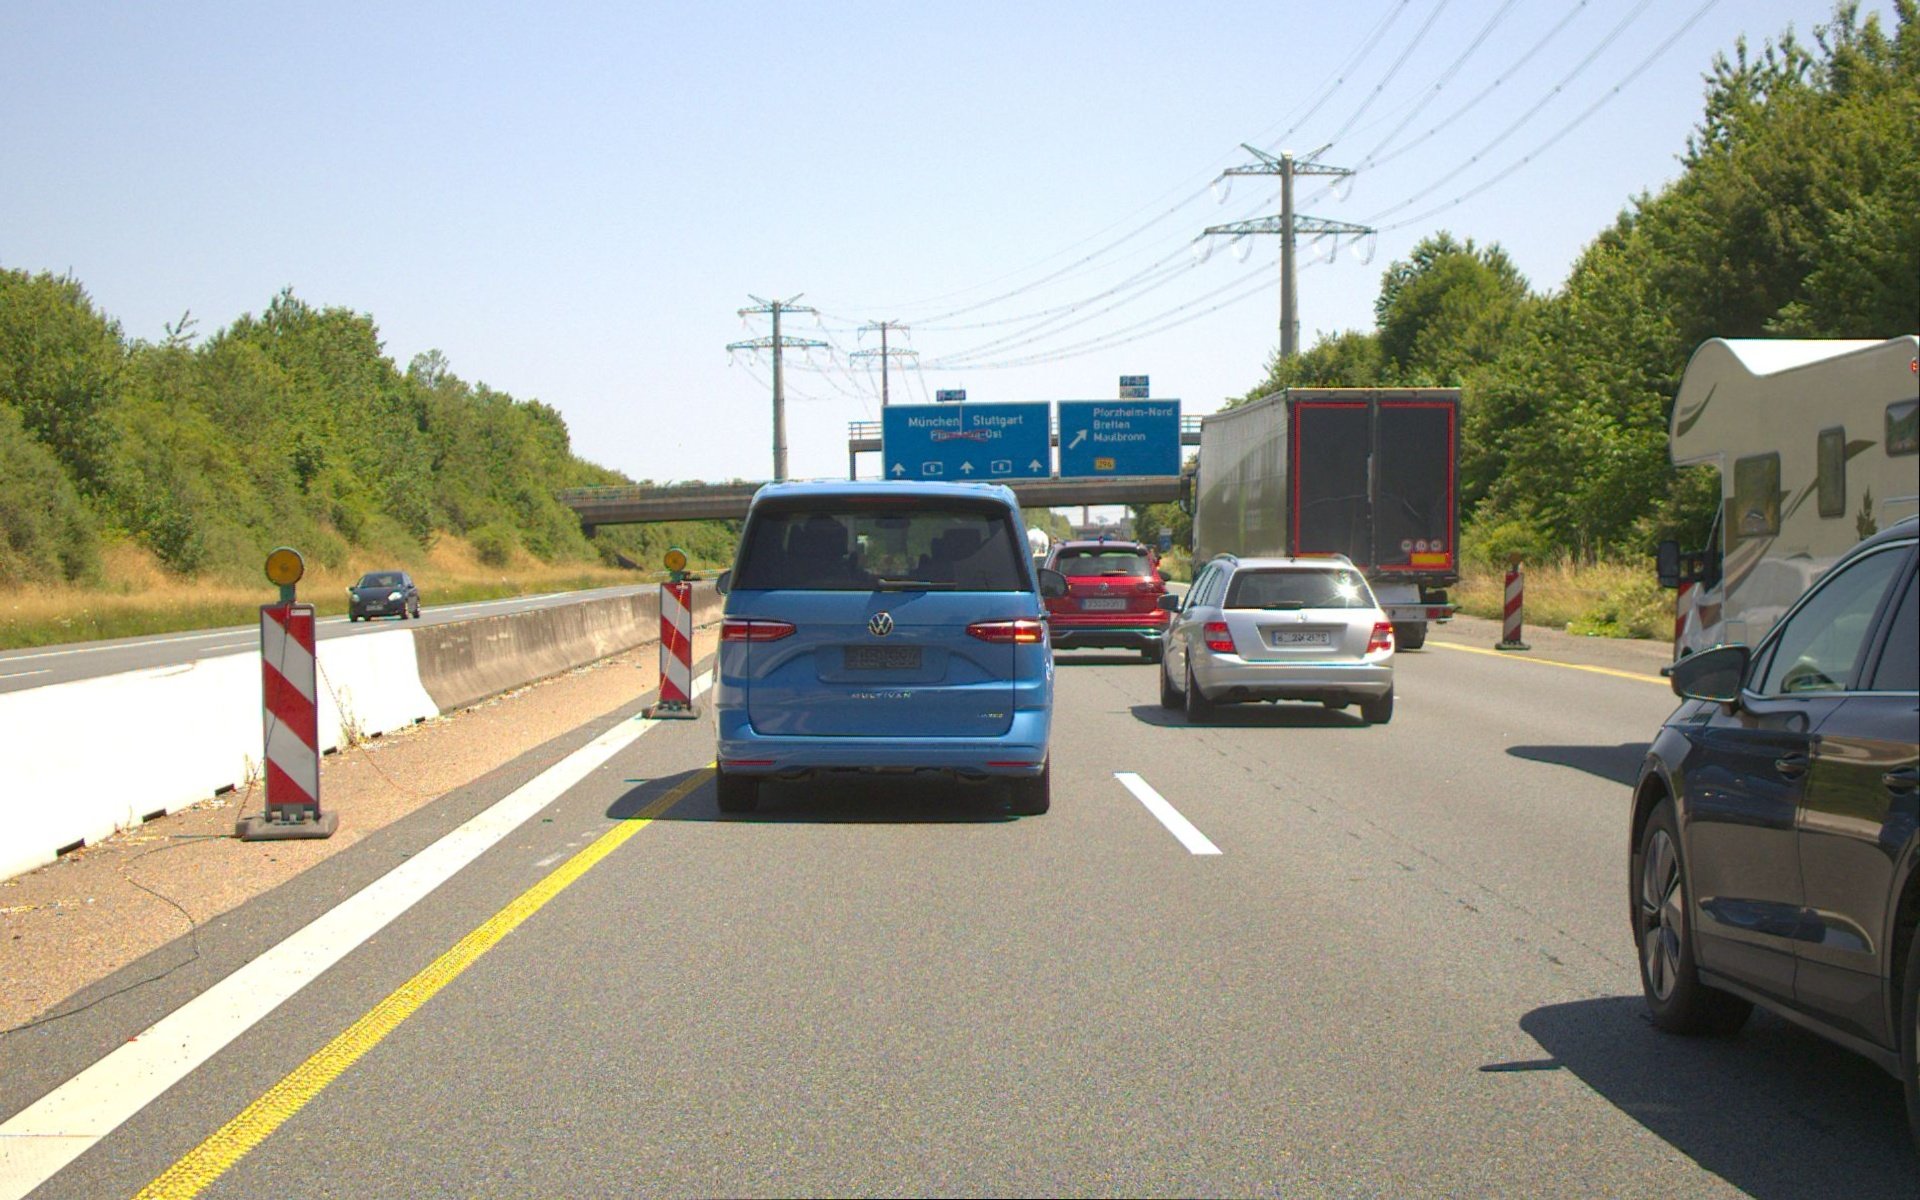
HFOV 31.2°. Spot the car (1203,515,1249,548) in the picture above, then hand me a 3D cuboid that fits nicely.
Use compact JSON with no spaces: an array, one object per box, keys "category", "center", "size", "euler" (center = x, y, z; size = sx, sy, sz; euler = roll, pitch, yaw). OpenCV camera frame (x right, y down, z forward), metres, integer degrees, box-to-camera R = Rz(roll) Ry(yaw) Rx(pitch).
[{"category":"car","center":[13.821,-3.548,178.647],"size":[1.874,1.665,4.360],"euler":[1,1,-2]}]

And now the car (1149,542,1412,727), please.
[{"category":"car","center":[2.778,0.257,30.668],"size":[1.770,1.512,4.360],"euler":[1,1,-2]}]

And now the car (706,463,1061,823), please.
[{"category":"car","center":[-0.487,0.201,20.627],"size":[1.874,1.905,4.360],"euler":[1,1,-2]}]

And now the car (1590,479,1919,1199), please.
[{"category":"car","center":[2.992,0.547,8.962],"size":[1.700,1.649,4.430],"euler":[1,1,-2]}]

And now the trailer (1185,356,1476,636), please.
[{"category":"trailer","center":[5.835,-1.612,56.672],"size":[2.783,4.033,13.113],"euler":[1,1,-2]}]

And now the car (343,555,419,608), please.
[{"category":"car","center":[-17.191,-0.564,102.196],"size":[1.708,1.459,3.850],"euler":[-2,1,-2]}]

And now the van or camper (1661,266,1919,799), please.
[{"category":"van or camper","center":[6.610,-0.409,22.398],"size":[2.369,3.033,7.633],"euler":[1,1,-1]}]

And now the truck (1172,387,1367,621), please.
[{"category":"truck","center":[5.553,-1.705,62.628],"size":[2.733,4.033,5.794],"euler":[1,1,-2]}]

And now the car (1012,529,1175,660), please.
[{"category":"car","center":[1.761,-0.105,46.674],"size":[1.874,1.665,4.360],"euler":[1,1,-2]}]
